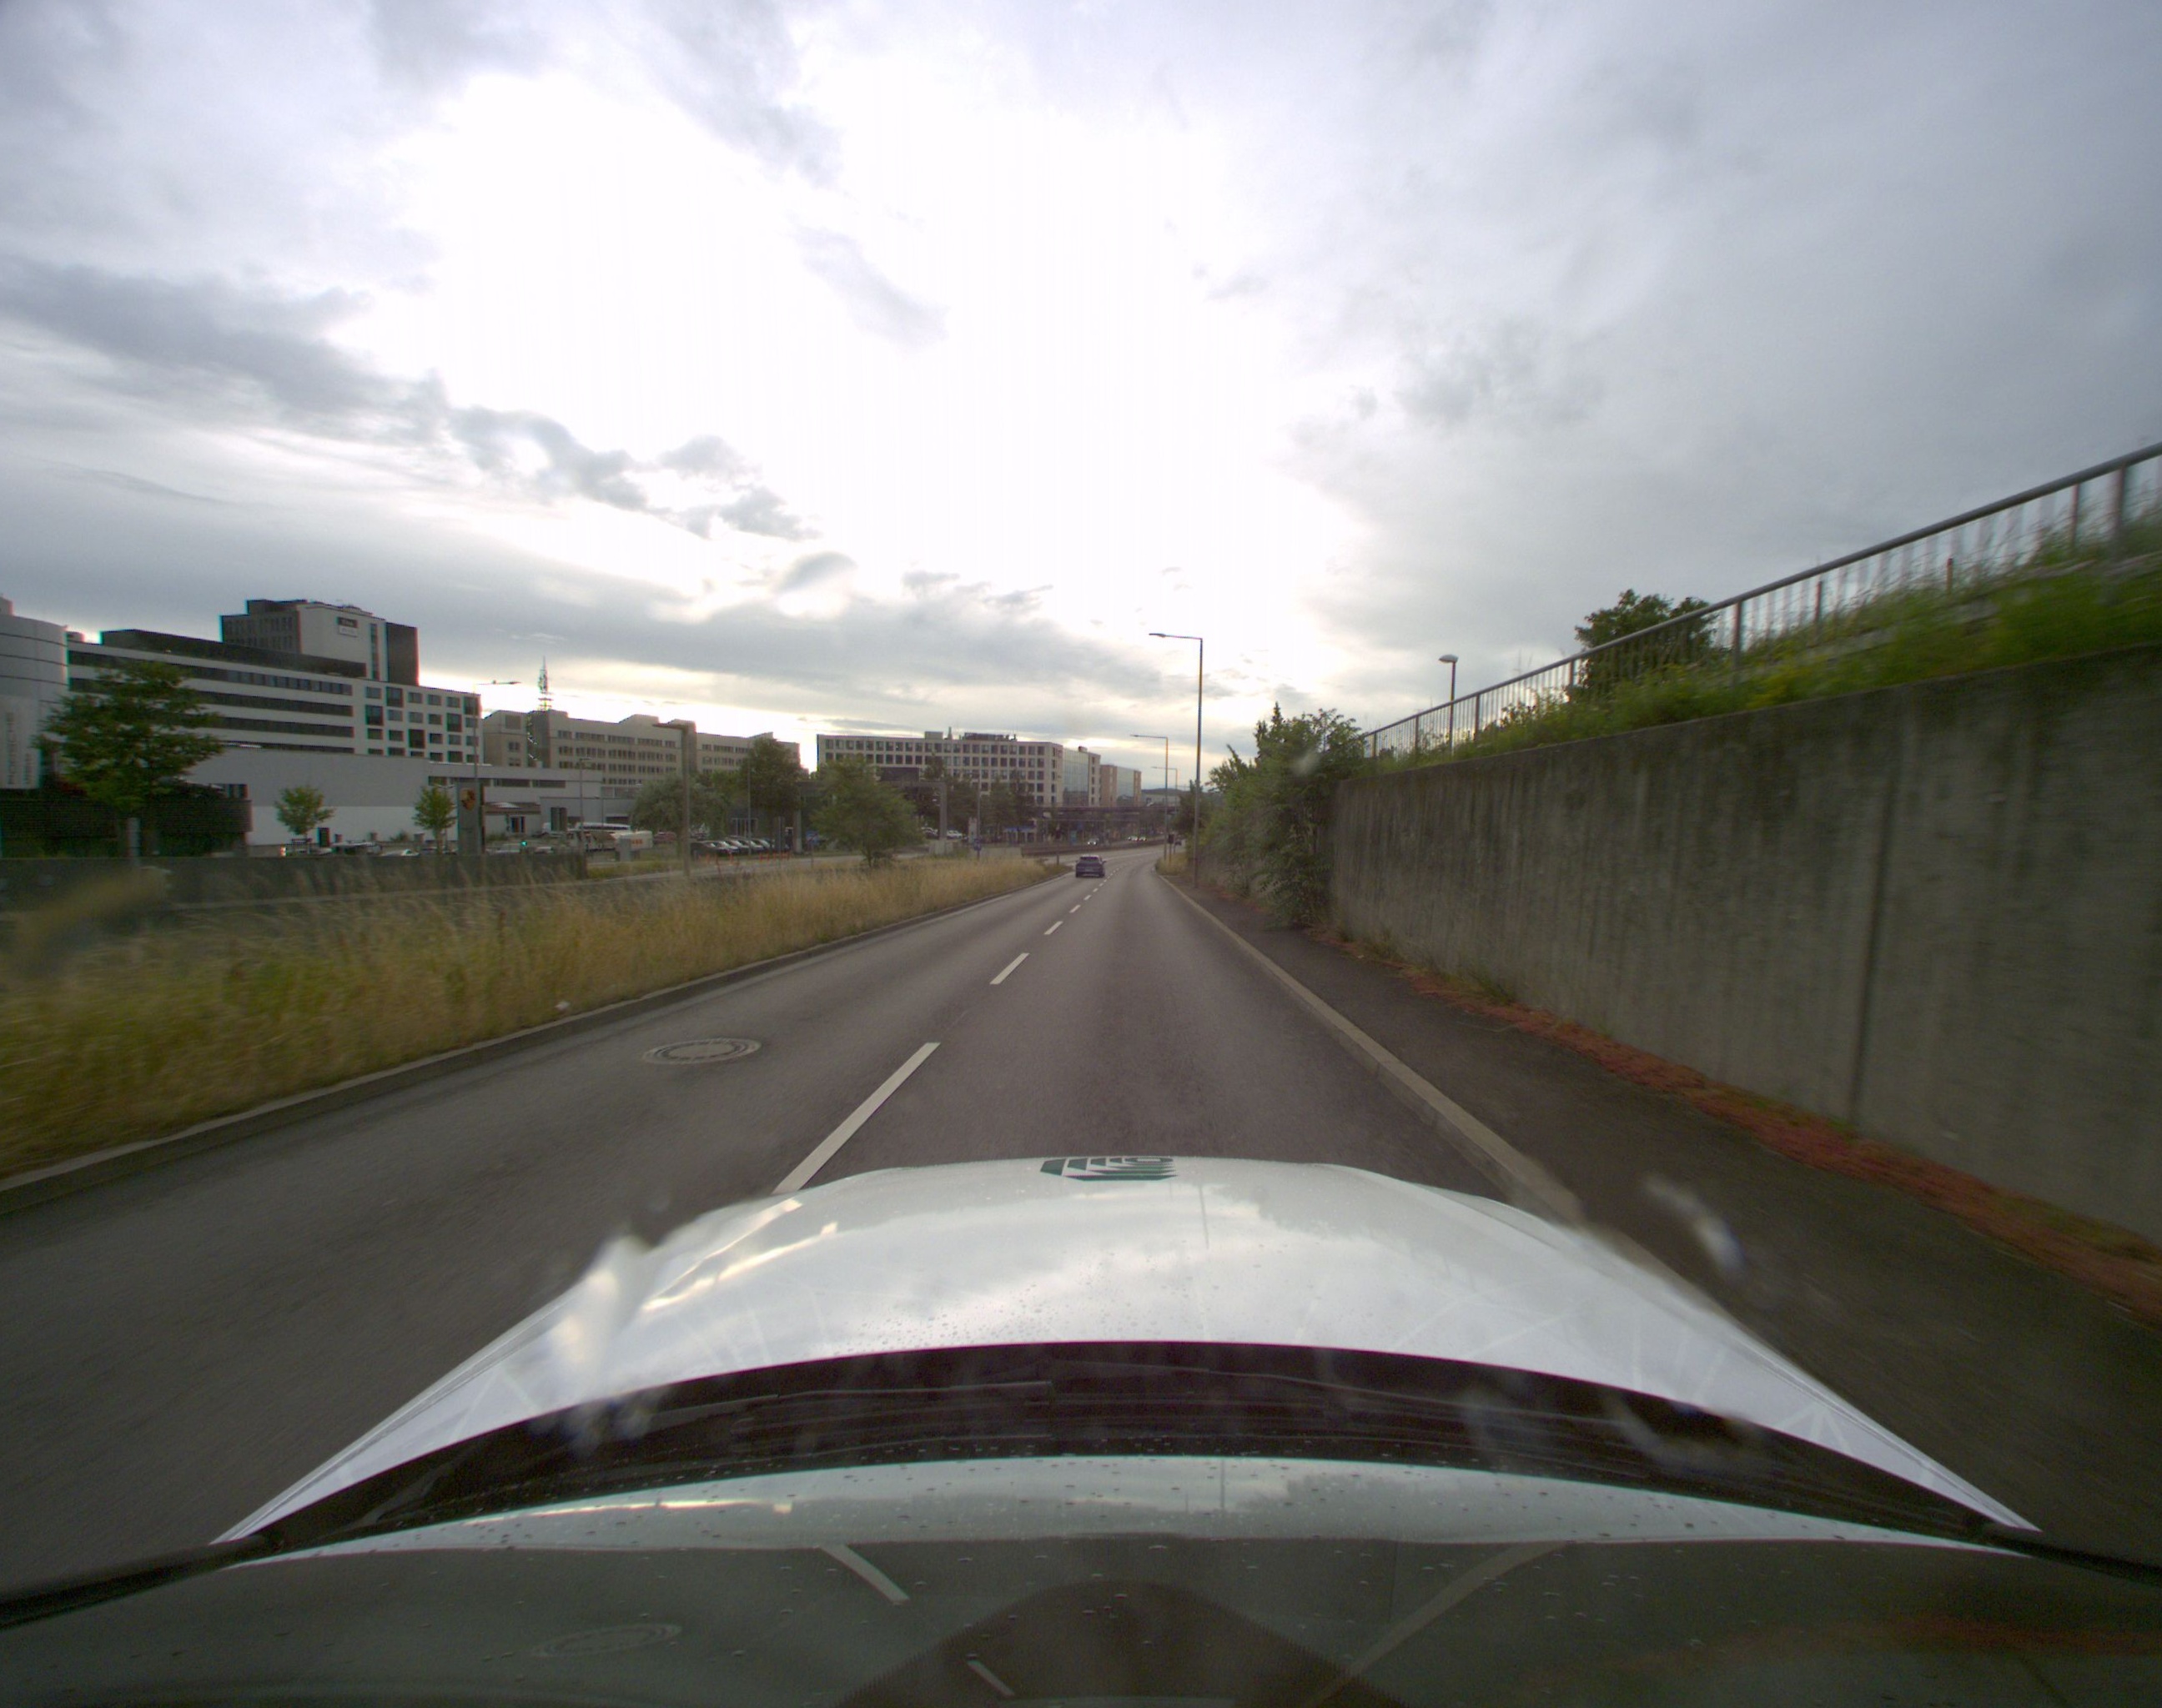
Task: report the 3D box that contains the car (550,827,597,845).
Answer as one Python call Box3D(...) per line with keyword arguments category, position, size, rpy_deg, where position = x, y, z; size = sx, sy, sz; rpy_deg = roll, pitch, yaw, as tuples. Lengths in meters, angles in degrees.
Box3D(category="car", position=(-54.237, -1.928, 87.087), size=(1.903, 1.683, 4.019), rpy_deg=(4, 5, 16))

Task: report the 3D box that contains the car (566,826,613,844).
Box3D(category="car", position=(-52.145, -2.061, 86.537), size=(1.903, 1.683, 4.019), rpy_deg=(4, 5, 16))

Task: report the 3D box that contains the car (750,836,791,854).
Box3D(category="car", position=(-35.418, -1.074, 92.974), size=(3.961, 1.683, 1.930), rpy_deg=(4, 4, 12))

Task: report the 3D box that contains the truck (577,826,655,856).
Box3D(category="truck", position=(-46.927, -1.419, 82.507), size=(2.350, 2.526, 7.441), rpy_deg=(4, 4, 13))

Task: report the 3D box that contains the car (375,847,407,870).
Box3D(category="car", position=(-61.779, 0.389, 72.966), size=(2.009, 1.683, 3.957), rpy_deg=(0, 5, -37))

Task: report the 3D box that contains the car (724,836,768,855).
Box3D(category="car", position=(-36.333, -0.912, 88.365), size=(3.961, 1.683, 1.930), rpy_deg=(4, 4, 12))

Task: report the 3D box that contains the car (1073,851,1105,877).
Box3D(category="car", position=(0.540, 0.640, 53.004), size=(1.740, 1.419, 3.484), rpy_deg=(-2, 2, 5))

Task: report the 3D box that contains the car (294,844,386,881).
Box3D(category="car", position=(-59.989, 0.676, 66.006), size=(5.120, 2.488, 2.535), rpy_deg=(3, 4, 0))

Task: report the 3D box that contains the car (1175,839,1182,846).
Box3D(category="car", position=(27.757, -3.263, 232.493), size=(1.852, 1.749, 4.011), rpy_deg=(3, 4, 8))

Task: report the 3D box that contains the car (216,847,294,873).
Box3D(category="car", position=(-65.514, 0.445, 64.668), size=(3.978, 1.683, 1.999), rpy_deg=(3, 4, -4))

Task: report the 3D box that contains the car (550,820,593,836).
Box3D(category="car", position=(-59.607, -3.100, 95.407), size=(1.903, 1.683, 4.019), rpy_deg=(4, 5, 16))

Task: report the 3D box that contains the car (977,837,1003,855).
Box3D(category="car", position=(-9.417, -0.877, 84.551), size=(1.678, 1.589, 3.560), rpy_deg=(4, 4, 9))

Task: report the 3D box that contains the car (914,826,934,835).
Box3D(category="car", position=(-34.358, -5.244, 178.227), size=(3.965, 1.650, 1.826), rpy_deg=(3, 4, 7))

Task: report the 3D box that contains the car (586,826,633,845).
Box3D(category="car", position=(-49.468, -1.966, 85.523), size=(1.903, 1.683, 4.019), rpy_deg=(4, 5, 16))

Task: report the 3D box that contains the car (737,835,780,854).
Box3D(category="car", position=(-35.921, -1.076, 90.756), size=(3.961, 1.683, 1.930), rpy_deg=(4, 4, 12))

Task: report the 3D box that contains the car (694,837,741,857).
Box3D(category="car", position=(-37.311, -0.703, 83.672), size=(3.961, 1.683, 1.930), rpy_deg=(4, 4, 12))

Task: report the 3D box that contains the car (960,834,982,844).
Box3D(category="car", position=(-22.019, -3.054, 162.930), size=(3.998, 1.650, 1.988), rpy_deg=(3, 2, -19))

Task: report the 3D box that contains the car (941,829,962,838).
Box3D(category="car", position=(-28.217, -4.437, 177.418), size=(3.957, 1.650, 2.009), rpy_deg=(4, 4, 16))

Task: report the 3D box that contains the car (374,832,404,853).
Box3D(category="car", position=(-66.536, -1.121, 78.372), size=(2.009, 1.705, 3.957), rpy_deg=(0, 5, -37))

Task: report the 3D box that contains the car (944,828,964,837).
Box3D(category="car", position=(-28.075, -4.678, 179.988), size=(3.957, 1.650, 2.009), rpy_deg=(4, 4, 16))

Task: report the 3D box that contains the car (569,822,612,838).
Box3D(category="car", position=(-56.774, -2.803, 94.346), size=(1.903, 1.683, 4.019), rpy_deg=(4, 5, 16))

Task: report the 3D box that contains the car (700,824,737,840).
Box3D(category="car", position=(-45.547, -2.788, 102.357), size=(3.999, 1.781, 1.912), rpy_deg=(1, 4, -19))

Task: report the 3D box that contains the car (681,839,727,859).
Box3D(category="car", position=(-37.756, -0.517, 81.567), size=(3.974, 1.599, 1.705), rpy_deg=(4, 4, 12))

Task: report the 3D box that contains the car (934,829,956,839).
Box3D(category="car", position=(-28.721, -4.244, 172.015), size=(3.957, 1.875, 2.009), rpy_deg=(4, 4, 16))

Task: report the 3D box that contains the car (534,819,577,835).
Box3D(category="car", position=(-61.862, -3.162, 95.955), size=(1.903, 1.683, 4.019), rpy_deg=(4, 5, 16))

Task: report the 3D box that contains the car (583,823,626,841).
Box3D(category="car", position=(-54.438, -2.522, 93.117), size=(1.978, 1.880, 4.019), rpy_deg=(4, 5, 17))

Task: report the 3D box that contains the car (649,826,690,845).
Box3D(category="car", position=(-46.516, -2.129, 92.105), size=(1.887, 1.880, 4.019), rpy_deg=(4, 5, 17))
